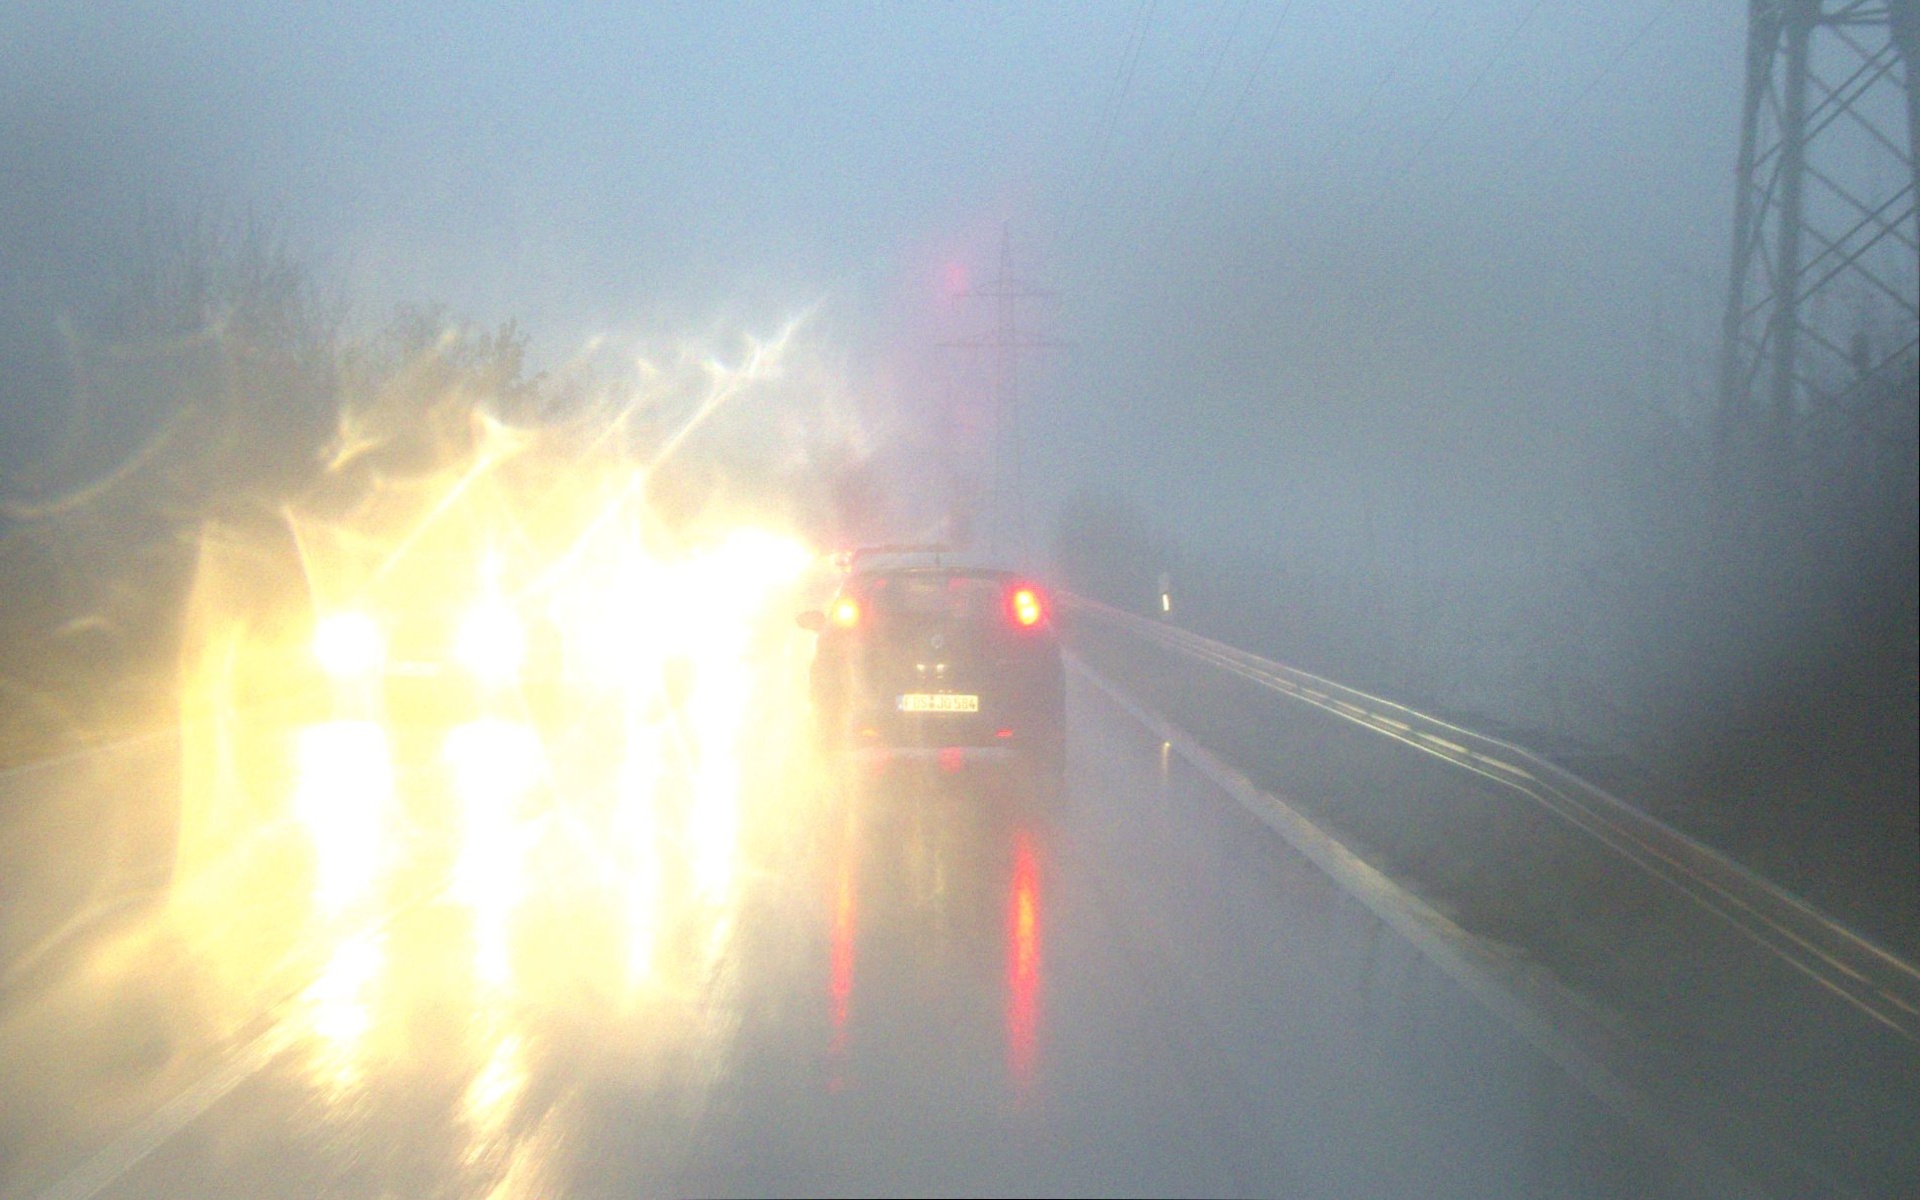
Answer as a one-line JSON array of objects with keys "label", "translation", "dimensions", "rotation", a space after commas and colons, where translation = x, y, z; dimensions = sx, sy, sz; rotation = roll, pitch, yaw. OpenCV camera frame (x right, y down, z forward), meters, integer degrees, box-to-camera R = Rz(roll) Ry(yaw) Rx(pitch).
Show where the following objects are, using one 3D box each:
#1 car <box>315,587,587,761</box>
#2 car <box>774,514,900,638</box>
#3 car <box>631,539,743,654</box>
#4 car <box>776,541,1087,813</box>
[{"label": "car", "translation": [-4.444, 0.637, 30.552], "dimensions": [1.828, 1.404, 4.000], "rotation": [1, -1, 0]}, {"label": "car", "translation": [-2.041, -0.415, 58.234], "dimensions": [1.993, 2.007, 4.000], "rotation": [-1, 1, 0]}, {"label": "car", "translation": [-5.232, -0.042, 66.199], "dimensions": [1.828, 2.111, 4.000], "rotation": [1, -1, 0]}, {"label": "car", "translation": [-0.206, 0.473, 24.077], "dimensions": [1.993, 1.746, 4.000], "rotation": [0, 1, -1]}]
